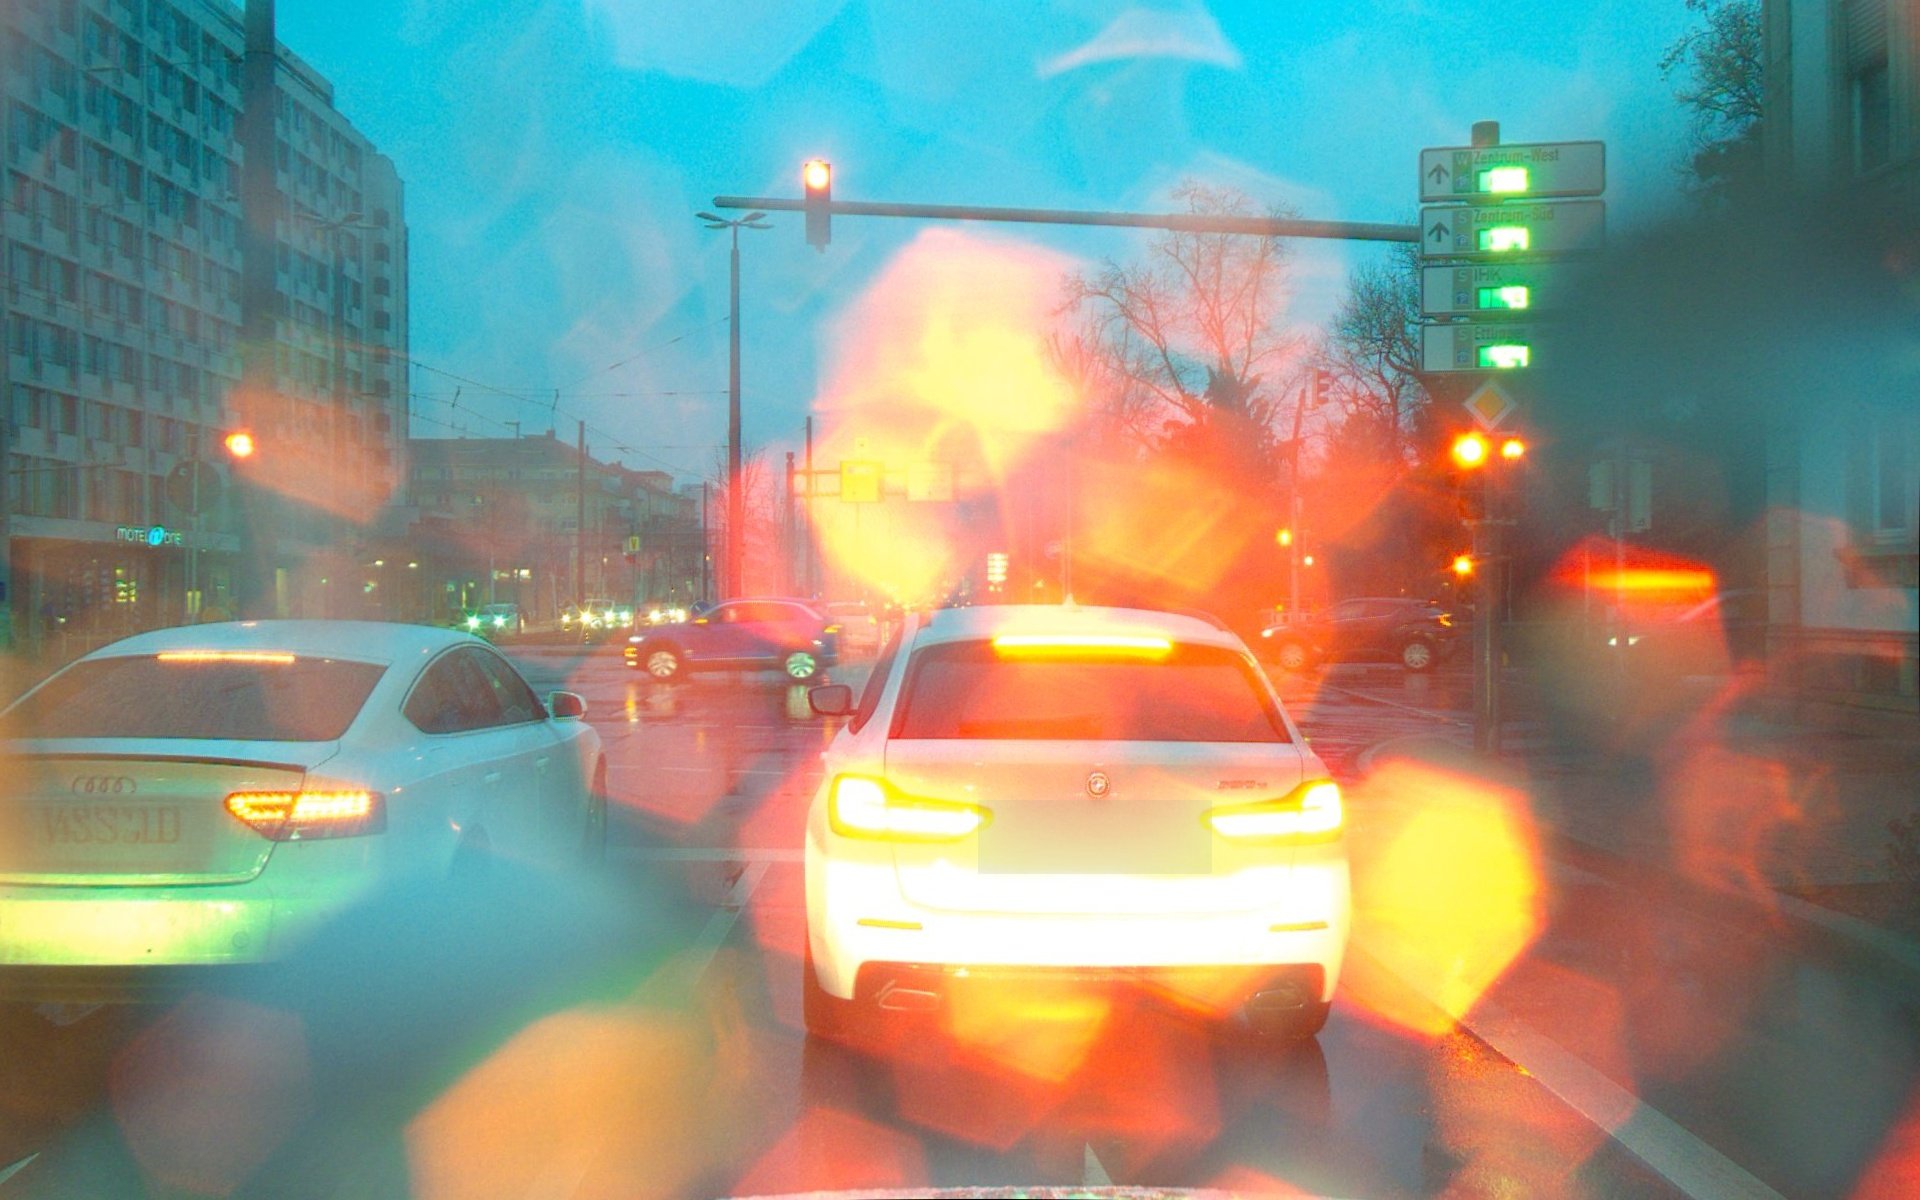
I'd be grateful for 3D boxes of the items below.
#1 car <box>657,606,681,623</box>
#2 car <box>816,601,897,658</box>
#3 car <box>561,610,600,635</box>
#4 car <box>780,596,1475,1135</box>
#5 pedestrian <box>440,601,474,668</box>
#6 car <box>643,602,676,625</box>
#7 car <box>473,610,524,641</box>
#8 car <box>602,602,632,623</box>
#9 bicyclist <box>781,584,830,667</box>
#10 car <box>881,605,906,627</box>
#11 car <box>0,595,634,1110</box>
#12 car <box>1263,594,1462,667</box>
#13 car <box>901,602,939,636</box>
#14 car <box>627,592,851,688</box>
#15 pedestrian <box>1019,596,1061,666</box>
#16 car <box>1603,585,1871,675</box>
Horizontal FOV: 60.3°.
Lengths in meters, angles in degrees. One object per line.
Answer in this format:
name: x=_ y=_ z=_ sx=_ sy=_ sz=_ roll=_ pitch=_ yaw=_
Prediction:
car: x=-27.167 y=1.335 z=154.499 sx=1.641 sy=1.534 sz=3.695 roll=1 pitch=-1 yaw=-1
car: x=-3.118 y=0.859 z=49.019 sx=1.714 sy=1.581 sz=3.954 roll=2 pitch=-1 yaw=-14
car: x=-24.251 y=1.415 z=105.840 sx=1.641 sy=1.534 sz=3.695 roll=1 pitch=-1 yaw=-1
car: x=0.381 y=0.738 z=6.816 sx=1.954 sy=1.481 sz=4.366 roll=0 pitch=0 yaw=-3
pedestrian: x=-13.416 y=0.919 z=44.132 sx=0.777 sy=1.741 sz=0.809 roll=2 pitch=-1 yaw=-16
car: x=-20.660 y=0.923 z=113.753 sx=1.641 sy=1.534 sz=3.695 roll=1 pitch=-1 yaw=-1
car: x=-23.911 y=1.312 z=85.850 sx=1.641 sy=1.534 sz=3.695 roll=1 pitch=-1 yaw=-1
car: x=-27.226 y=1.006 z=131.548 sx=1.641 sy=1.534 sz=3.695 roll=1 pitch=-1 yaw=-1
bicyclist: x=-3.400 y=0.567 z=36.414 sx=0.952 sy=1.789 sz=0.813 roll=1 pitch=-1 yaw=0
car: x=-5.121 y=1.239 z=128.033 sx=1.806 sy=1.637 sz=3.943 roll=1 pitch=-1 yaw=-2
car: x=-2.701 y=0.729 z=6.987 sx=1.954 sy=1.481 sz=4.366 roll=0 pitch=0 yaw=-3
car: x=8.645 y=0.650 z=35.490 sx=3.906 sy=1.426 sz=1.757 roll=1 pitch=-1 yaw=23
car: x=-2.028 y=0.944 z=83.201 sx=1.806 sy=1.637 sz=3.943 roll=1 pitch=-1 yaw=-2
car: x=-4.076 y=0.742 z=30.923 sx=3.905 sy=1.651 sz=1.719 roll=1 pitch=-1 yaw=1
pedestrian: x=2.215 y=0.853 z=45.754 sx=0.884 sy=1.888 sz=0.812 roll=1 pitch=-1 yaw=23
car: x=13.154 y=0.497 z=28.270 sx=4.008 sy=1.466 sz=1.840 roll=0 pitch=-1 yaw=21
